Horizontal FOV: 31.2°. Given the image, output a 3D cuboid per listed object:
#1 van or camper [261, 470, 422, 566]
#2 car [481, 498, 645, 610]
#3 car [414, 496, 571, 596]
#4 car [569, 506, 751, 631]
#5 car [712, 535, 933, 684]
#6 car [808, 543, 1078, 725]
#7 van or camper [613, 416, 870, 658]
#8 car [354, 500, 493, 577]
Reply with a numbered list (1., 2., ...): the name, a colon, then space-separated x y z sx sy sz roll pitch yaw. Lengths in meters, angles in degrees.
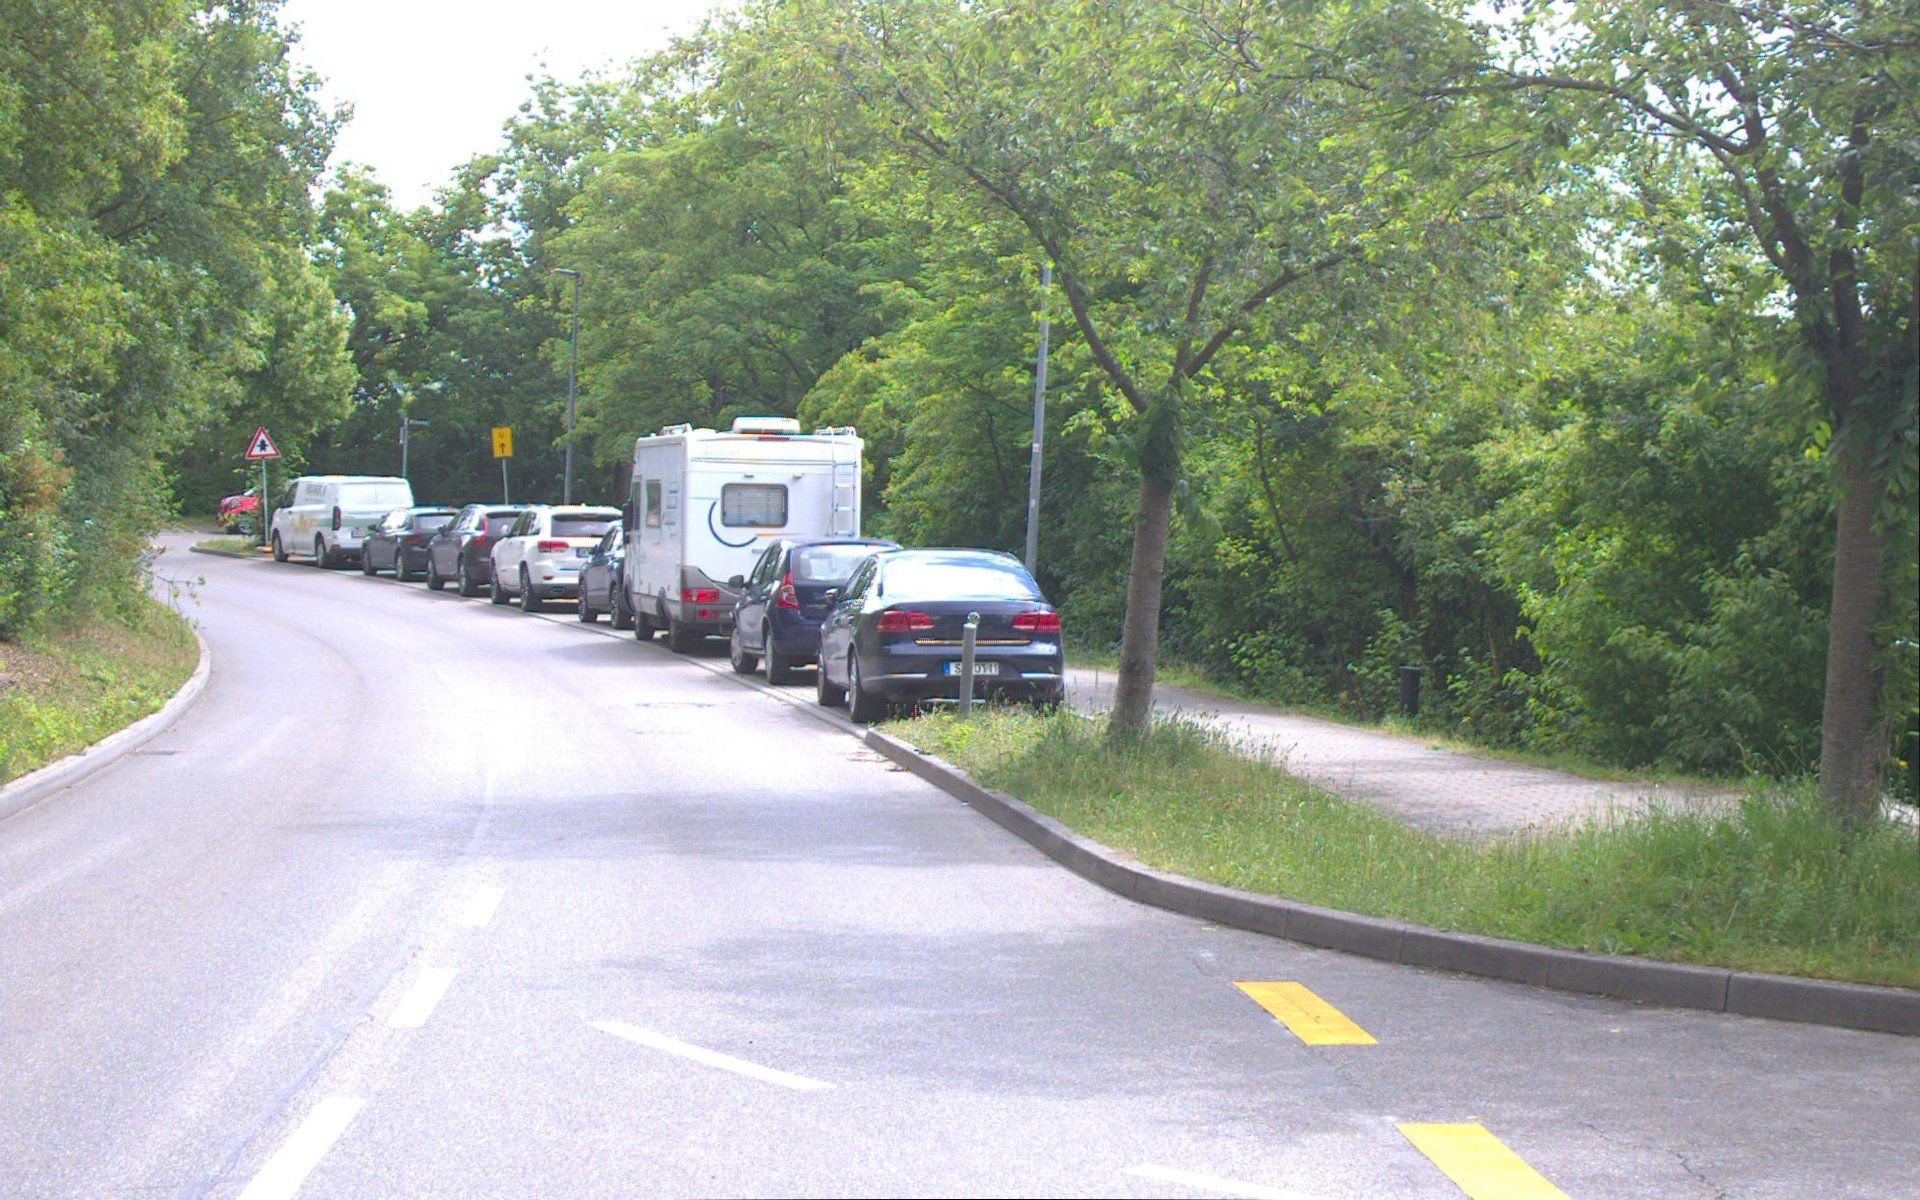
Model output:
1. van or camper: -13.497 -1.819 74.761 1.993 1.913 5.267 -1 3 -27
2. car: -6.683 -0.799 57.411 1.871 1.683 4.581 2 2 -17
3. car: -8.603 -1.018 62.976 1.993 1.620 4.280 -2 4 -19
4. car: -4.465 -0.497 50.627 1.710 1.586 4.001 -6 4 -17
5. car: -1.537 0.079 37.155 1.728 1.514 3.890 0 0 -12
6. car: -0.230 0.244 30.067 1.775 1.429 4.335 0 1 -8
7. van or camper: -2.940 -0.848 44.631 2.332 2.859 6.152 2 1 -12
8. car: -10.857 -1.256 69.374 1.797 1.459 4.001 0 2 -24
